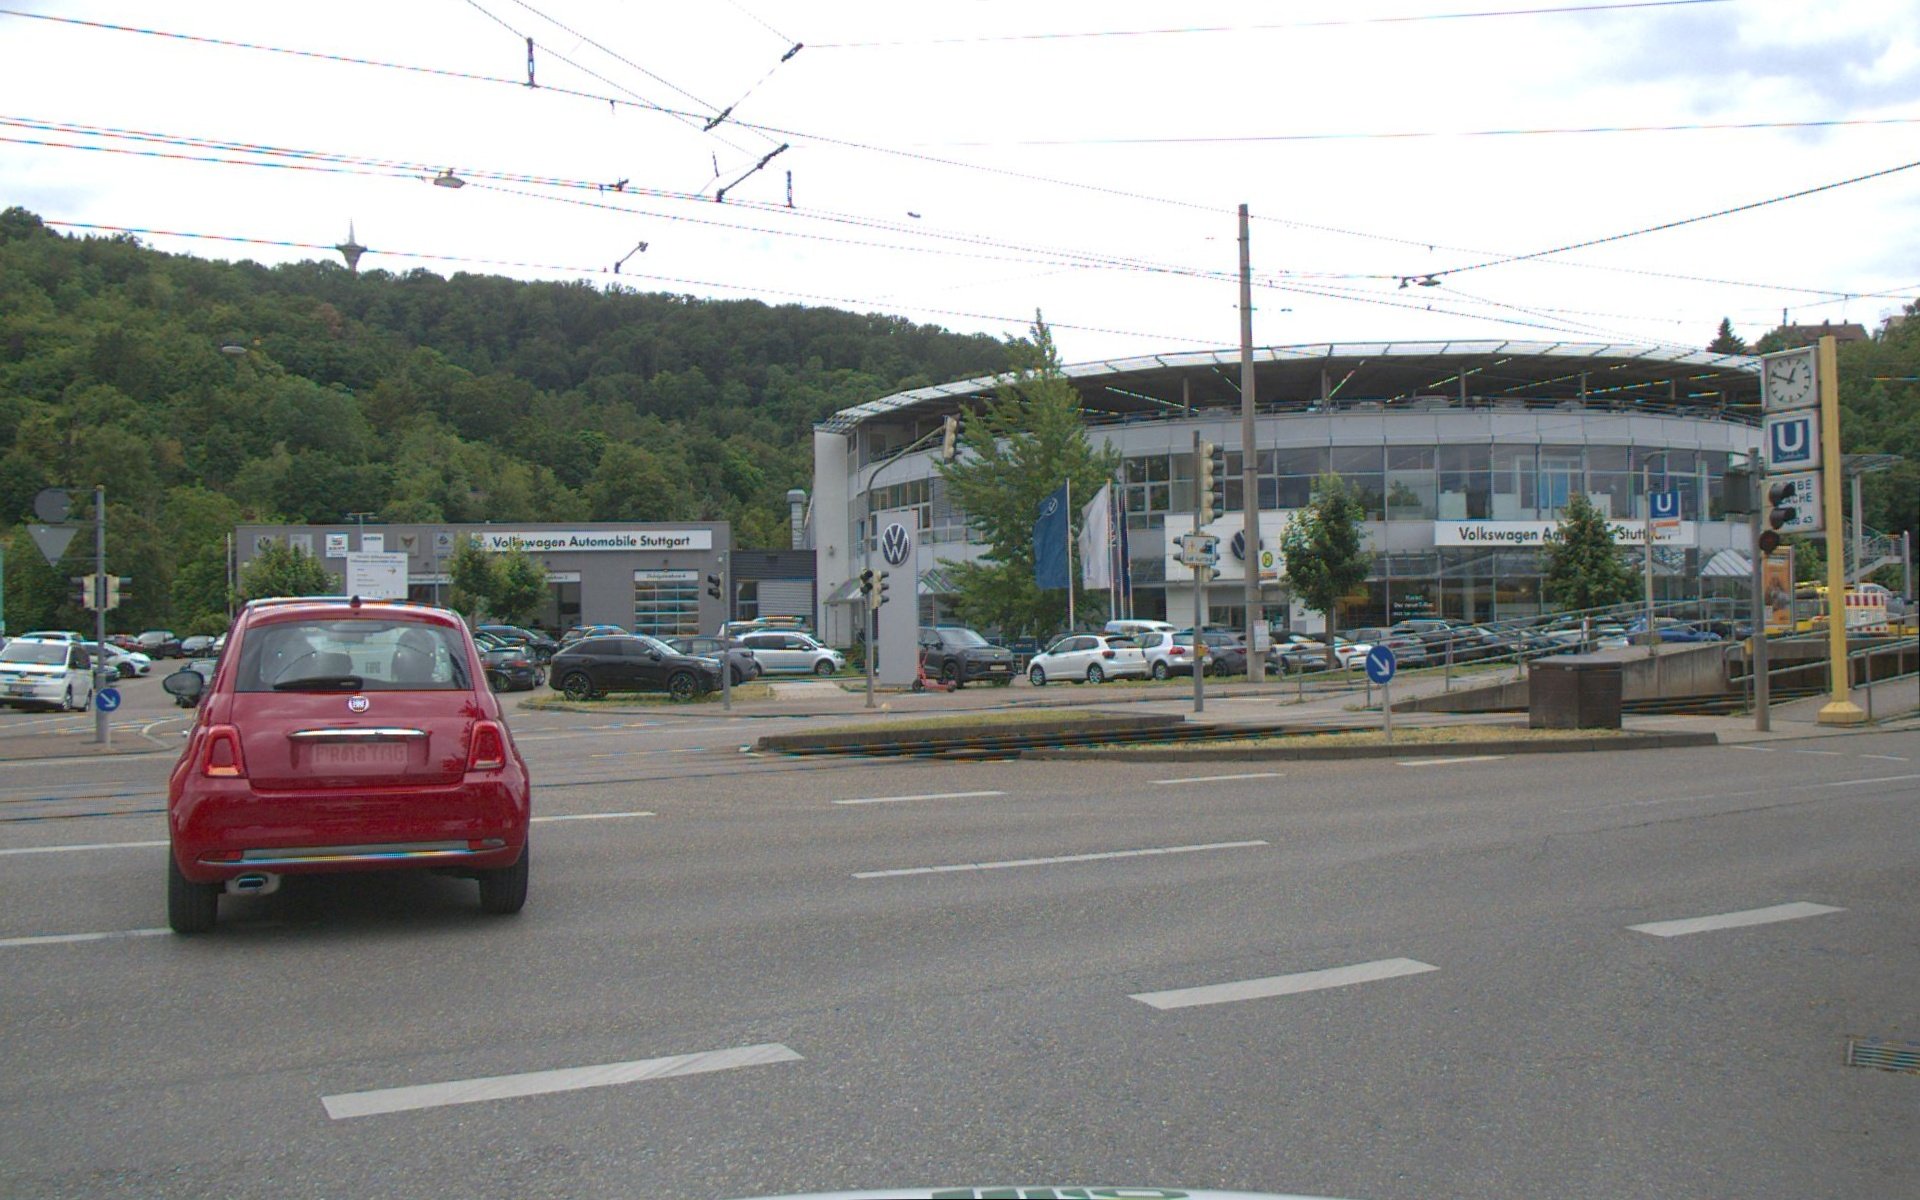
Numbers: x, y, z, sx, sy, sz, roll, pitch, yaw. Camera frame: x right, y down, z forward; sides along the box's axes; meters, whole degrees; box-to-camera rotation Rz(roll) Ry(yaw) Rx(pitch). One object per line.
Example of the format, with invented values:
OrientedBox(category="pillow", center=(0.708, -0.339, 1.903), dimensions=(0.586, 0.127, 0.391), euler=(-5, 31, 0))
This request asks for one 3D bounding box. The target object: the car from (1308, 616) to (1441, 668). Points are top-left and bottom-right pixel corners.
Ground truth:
OrientedBox(category="car", center=(13.632, 1.402, 54.549), dimensions=(1.907, 1.582, 3.945), euler=(5, -4, -37))

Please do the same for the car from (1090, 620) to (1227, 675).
OrientedBox(category="car", center=(5.841, 1.432, 49.092), dimensions=(1.795, 1.503, 3.945), euler=(5, -4, -37))

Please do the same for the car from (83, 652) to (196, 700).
OrientedBox(category="car", center=(-37.456, 3.479, 75.625), dimensions=(4.436, 2.032, 1.985), euler=(3, -4, -24))

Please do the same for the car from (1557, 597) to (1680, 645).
OrientedBox(category="car", center=(24.389, 0.806, 61.329), dimensions=(1.900, 1.582, 3.960), euler=(4, -4, -29))

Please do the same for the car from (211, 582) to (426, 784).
OrientedBox(category="car", center=(-7.734, 0.988, 19.664), dimensions=(1.974, 2.077, 4.791), euler=(3, -3, -25))

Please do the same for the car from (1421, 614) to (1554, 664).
OrientedBox(category="car", center=(18.011, 1.337, 56.627), dimensions=(1.908, 1.581, 3.945), euler=(-1, -1, -38))

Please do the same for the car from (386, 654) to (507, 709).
OrientedBox(category="car", center=(-18.807, 3.001, 60.707), dimensions=(3.912, 1.825, 1.849), euler=(2, -4, -8))

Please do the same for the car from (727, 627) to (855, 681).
OrientedBox(category="car", center=(-6.208, 1.998, 60.526), dimensions=(4.416, 1.759, 1.994), euler=(3, -4, -12))

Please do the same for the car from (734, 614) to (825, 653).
OrientedBox(category="car", center=(-9.297, 1.723, 84.922), dimensions=(4.416, 1.759, 1.994), euler=(3, -4, -12))

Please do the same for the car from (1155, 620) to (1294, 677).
OrientedBox(category="car", center=(7.990, 1.487, 50.190), dimensions=(1.907, 1.582, 3.945), euler=(5, -4, -37))

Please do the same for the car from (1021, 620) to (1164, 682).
OrientedBox(category="car", center=(3.792, 1.492, 47.861), dimensions=(1.979, 1.669, 3.945), euler=(5, -4, -38))

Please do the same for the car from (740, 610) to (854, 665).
OrientedBox(category="car", center=(-6.691, 1.556, 67.708), dimensions=(4.416, 2.032, 1.994), euler=(3, -4, -12))

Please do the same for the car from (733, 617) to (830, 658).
OrientedBox(category="car", center=(-8.628, 1.813, 79.785), dimensions=(4.416, 1.759, 1.994), euler=(3, -4, -12))

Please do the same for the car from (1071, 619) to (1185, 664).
OrientedBox(category="car", center=(6.325, 1.570, 62.447), dimensions=(3.931, 1.582, 1.914), euler=(-1, -5, 44))

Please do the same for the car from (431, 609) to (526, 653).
OrientedBox(category="car", center=(-22.295, 1.467, 76.714), dimensions=(3.912, 1.825, 1.849), euler=(2, -4, -8))

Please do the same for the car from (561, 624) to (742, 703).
OrientedBox(category="car", center=(-7.412, 1.512, 40.011), dimensions=(3.904, 1.668, 2.001), euler=(2, 1, 3))

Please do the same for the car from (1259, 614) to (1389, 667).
OrientedBox(category="car", center=(11.719, 1.346, 53.469), dimensions=(1.711, 1.582, 3.945), euler=(5, -4, -37))

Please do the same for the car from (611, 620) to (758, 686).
OrientedBox(category="car", center=(-8.113, 1.587, 48.656), dimensions=(3.928, 1.736, 1.988), euler=(3, -4, -20))

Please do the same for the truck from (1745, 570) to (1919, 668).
OrientedBox(category="truck", center=(30.677, 0.642, 56.487), dimensions=(8.892, 3.132, 2.673), euler=(0, -2, -33))

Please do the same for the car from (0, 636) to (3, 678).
OrientedBox(category="car", center=(-31.675, 2.126, 49.905), dimensions=(4.468, 2.283, 1.971), euler=(5, -5, -40))

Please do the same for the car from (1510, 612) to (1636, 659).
OrientedBox(category="car", center=(22.121, 1.314, 59.790), dimensions=(1.900, 1.581, 3.960), euler=(-1, -2, -29))

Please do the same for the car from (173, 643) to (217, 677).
OrientedBox(category="car", center=(-47.910, 3.796, 103.646), dimensions=(1.964, 2.032, 4.484), euler=(3, -4, -19))

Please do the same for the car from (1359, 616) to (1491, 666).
OrientedBox(category="car", center=(15.656, 1.383, 55.823), dimensions=(1.908, 1.581, 3.945), euler=(-1, -1, -38))

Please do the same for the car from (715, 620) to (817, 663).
OrientedBox(category="car", center=(-8.834, 1.913, 75.319), dimensions=(4.416, 1.759, 1.994), euler=(3, -4, -12))

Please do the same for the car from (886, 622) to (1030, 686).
OrientedBox(category="car", center=(-0.088, 1.472, 45.200), dimensions=(1.979, 1.669, 3.945), euler=(1, -2, -38))

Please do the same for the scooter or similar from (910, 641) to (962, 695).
OrientedBox(category="scooter or similar", center=(-0.609, 1.746, 42.365), dimensions=(1.181, 1.311, 0.573), euler=(3, -4, -16))

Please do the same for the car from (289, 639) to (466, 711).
OrientedBox(category="car", center=(-18.473, 2.390, 52.638), dimensions=(4.906, 2.049, 1.997), euler=(-2, -3, -7))

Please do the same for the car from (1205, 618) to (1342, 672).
OrientedBox(category="car", center=(9.788, 1.431, 51.846), dimensions=(1.907, 1.582, 3.945), euler=(5, -4, -37))

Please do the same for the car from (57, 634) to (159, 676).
OrientedBox(category="car", center=(-45.561, 2.970, 88.535), dimensions=(4.425, 2.032, 1.990), euler=(3, -4, -18))

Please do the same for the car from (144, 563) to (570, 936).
OrientedBox(category="car", center=(-3.326, 0.704, 9.072), dimensions=(1.674, 1.552, 3.973), euler=(3, -2, -22))

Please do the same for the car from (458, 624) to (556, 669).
OrientedBox(category="car", center=(-20.085, 2.082, 73.490), dimensions=(3.912, 1.825, 1.849), euler=(2, -4, -8))

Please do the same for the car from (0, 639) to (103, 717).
OrientedBox(category="car", center=(-24.282, 2.070, 43.906), dimensions=(2.046, 1.886, 4.876), euler=(3, -4, -21))

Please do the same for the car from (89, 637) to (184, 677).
OrientedBox(category="car", center=(-46.876, 3.267, 94.232), dimensions=(4.425, 2.032, 1.990), euler=(3, -4, -18))

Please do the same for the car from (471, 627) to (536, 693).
OrientedBox(category="car", center=(-15.530, 2.099, 56.503), dimensions=(1.960, 2.049, 4.998), euler=(-1, -3, -14))

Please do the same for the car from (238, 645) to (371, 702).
OrientedBox(category="car", center=(-25.527, 2.888, 64.540), dimensions=(4.416, 2.032, 1.994), euler=(3, -4, -12))
